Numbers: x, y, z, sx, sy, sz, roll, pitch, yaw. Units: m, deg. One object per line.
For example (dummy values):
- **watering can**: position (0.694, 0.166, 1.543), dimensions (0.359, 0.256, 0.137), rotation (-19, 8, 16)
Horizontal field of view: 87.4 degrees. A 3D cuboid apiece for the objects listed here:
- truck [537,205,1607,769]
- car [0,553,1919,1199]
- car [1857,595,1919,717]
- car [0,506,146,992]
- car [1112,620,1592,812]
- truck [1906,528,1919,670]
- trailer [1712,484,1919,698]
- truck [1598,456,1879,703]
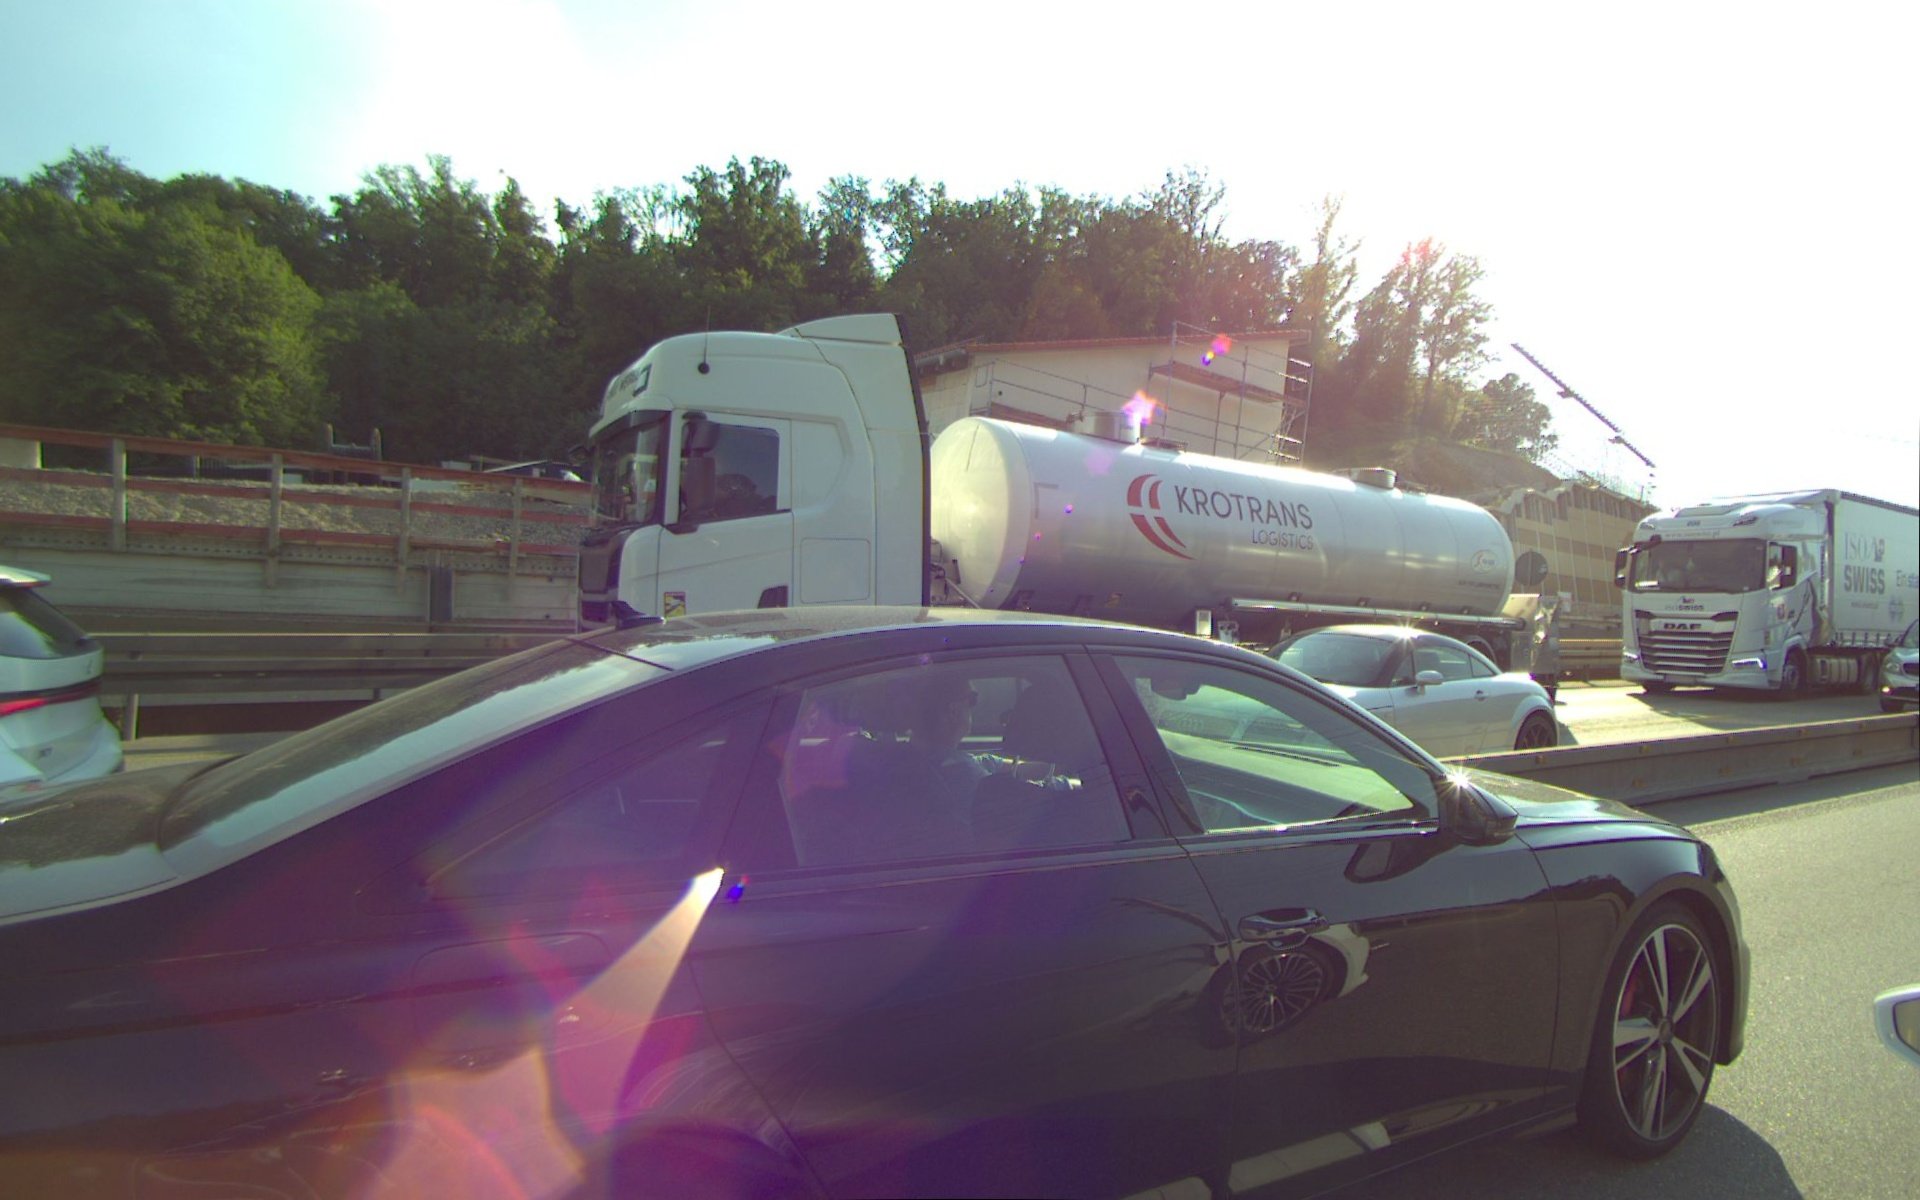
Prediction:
- **truck**: position (2.591, -0.614, 11.947), dimensions (13.735, 4.023, 2.794), rotation (2, 0, -31)
- **car**: position (0.386, 0.798, 2.784), dimensions (5.158, 1.500, 1.932), rotation (2, -2, -29)
- **car**: position (17.332, 0.935, 17.134), dimensions (4.812, 1.942, 1.822), rotation (1, 0, -33)
- **car**: position (-5.665, 0.439, 3.154), dimensions (4.506, 1.669, 1.838), rotation (3, -2, -30)
- **car**: position (3.386, 0.864, 8.475), dimensions (4.005, 1.269, 1.702), rotation (3, -2, -31)
- **truck**: position (32.090, 0.092, 31.065), dimensions (5.711, 4.328, 2.876), rotation (3, -1, -34)
- **trailer**: position (22.496, 0.077, 24.512), dimensions (12.012, 4.322, 2.440), rotation (3, -1, -32)
- **truck**: position (15.820, -0.216, 20.298), dimensions (6.252, 4.328, 2.431), rotation (3, -1, -32)
